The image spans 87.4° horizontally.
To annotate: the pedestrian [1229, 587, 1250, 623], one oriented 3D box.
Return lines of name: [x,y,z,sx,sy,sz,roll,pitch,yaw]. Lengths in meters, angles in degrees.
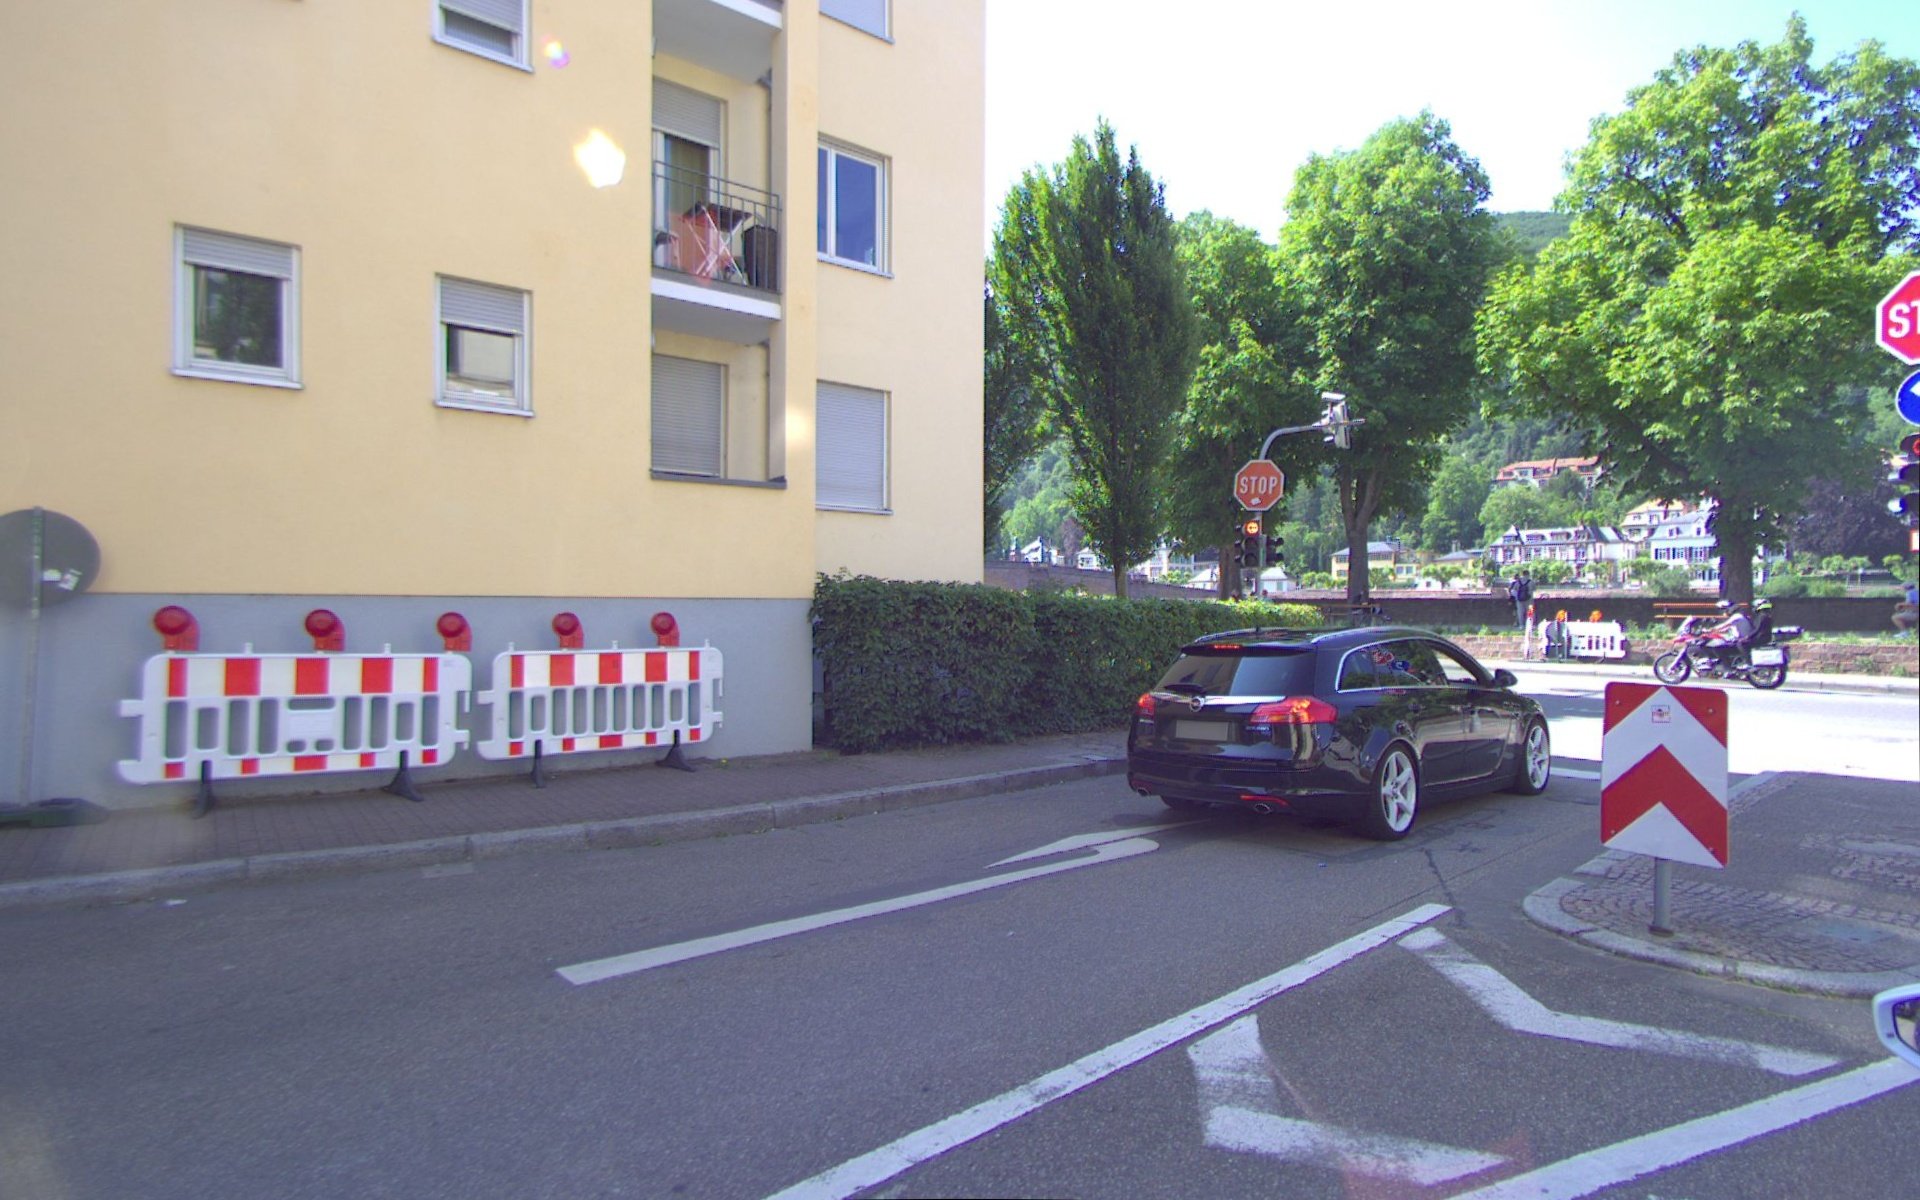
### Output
pedestrian: [10.185,0.190,36.568,0.626,1.287,0.463,1,0,-37]

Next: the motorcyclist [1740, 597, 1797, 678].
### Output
motorcyclist: [15.584,0.702,19.352,0.813,1.513,0.763,1,-1,-44]

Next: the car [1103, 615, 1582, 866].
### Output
car: [3.330,0.892,8.172,4.689,1.481,1.699,1,-3,-42]

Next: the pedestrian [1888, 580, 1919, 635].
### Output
pedestrian: [21.658,0.169,22.946,0.633,1.244,0.413,-1,-1,37]

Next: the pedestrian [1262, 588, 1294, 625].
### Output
pedestrian: [11.288,0.234,35.632,1.213,1.287,0.463,1,0,-38]

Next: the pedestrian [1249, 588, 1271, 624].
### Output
pedestrian: [10.714,0.215,35.868,0.626,1.287,0.463,1,0,-37]

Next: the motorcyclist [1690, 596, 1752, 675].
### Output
motorcyclist: [15.070,0.688,19.897,0.813,1.514,0.863,1,-1,-44]

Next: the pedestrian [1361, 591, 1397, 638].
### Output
pedestrian: [13.652,0.466,32.707,1.372,1.499,0.463,1,0,-38]

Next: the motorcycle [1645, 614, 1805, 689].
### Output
motorcycle: [15.082,0.974,19.877,0.758,1.394,2.440,1,-1,-43]

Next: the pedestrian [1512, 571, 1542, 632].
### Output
pedestrian: [17.634,0.044,31.220,0.751,1.882,0.755,1,0,31]

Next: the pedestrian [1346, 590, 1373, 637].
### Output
pedestrian: [13.128,0.441,32.980,0.797,1.513,0.463,1,0,-38]

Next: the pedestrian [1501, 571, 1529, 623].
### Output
pedestrian: [18.980,-0.104,34.329,0.699,1.755,0.753,1,0,38]
